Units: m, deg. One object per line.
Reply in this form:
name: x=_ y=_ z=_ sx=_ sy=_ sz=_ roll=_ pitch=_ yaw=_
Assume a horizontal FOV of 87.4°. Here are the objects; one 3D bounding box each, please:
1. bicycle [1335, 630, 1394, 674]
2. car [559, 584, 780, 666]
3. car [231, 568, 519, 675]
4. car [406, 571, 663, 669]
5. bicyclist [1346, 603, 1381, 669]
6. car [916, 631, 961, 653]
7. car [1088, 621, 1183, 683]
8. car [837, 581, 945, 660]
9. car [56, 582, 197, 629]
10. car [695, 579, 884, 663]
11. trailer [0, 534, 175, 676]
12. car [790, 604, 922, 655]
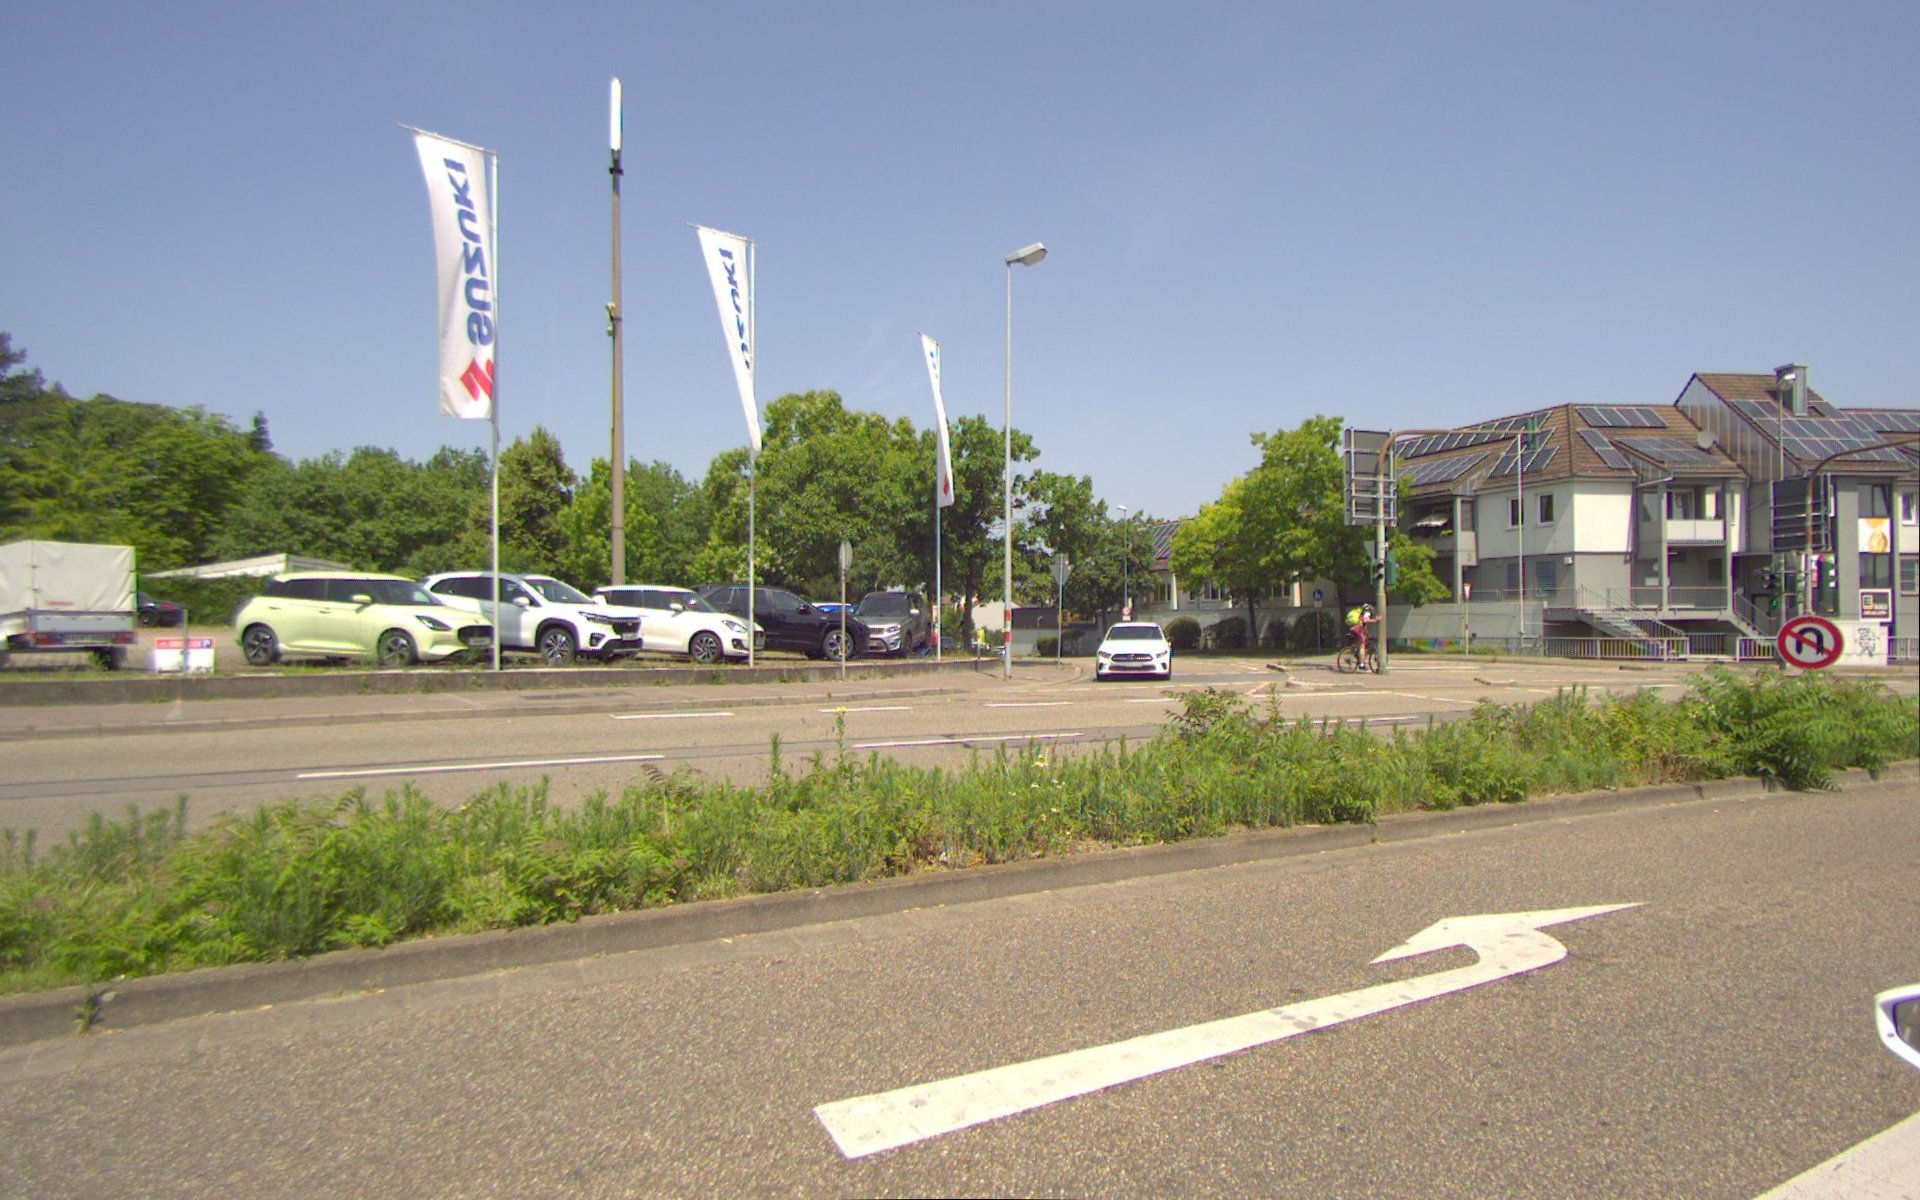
bicycle: x=10.476 y=1.340 z=25.989 sx=1.768 sy=1.068 sz=0.418 roll=0 pitch=1 yaw=-30
car: x=-5.785 y=0.498 z=20.173 sx=3.882 sy=1.451 sz=1.717 roll=2 pitch=-1 yaw=13
car: x=-9.387 y=0.323 z=16.256 sx=3.742 sy=1.530 sz=1.759 roll=2 pitch=0 yaw=10
car: x=-7.659 y=0.339 z=18.228 sx=3.882 sy=1.561 sz=1.920 roll=2 pitch=0 yaw=14
bicyclist: x=10.416 y=0.923 z=25.954 sx=0.811 sy=1.664 sz=0.419 roll=0 pitch=1 yaw=-30
car: x=-1.535 y=2.974 z=70.609 sx=1.972 sy=1.505 sz=4.424 roll=0 pitch=-3 yaw=-18
car: x=4.583 y=1.280 z=25.742 sx=1.837 sy=1.443 sz=4.269 roll=-1 pitch=-2 yaw=17
car: x=-1.774 y=0.599 z=27.269 sx=1.792 sy=1.926 sz=4.313 roll=2 pitch=-2 yaw=11
car: x=-26.268 y=0.185 z=31.789 sx=3.320 sy=1.392 sz=1.638 roll=2 pitch=0 yaw=-37
car: x=-3.975 y=0.515 z=23.444 sx=3.962 sy=1.746 sz=1.834 roll=3 pitch=-1 yaw=-27
trailer: x=-12.227 y=0.049 z=13.470 sx=2.387 sy=1.726 sz=1.693 roll=1 pitch=0 yaw=22
car: x=-3.411 y=0.961 z=33.062 sx=3.946 sy=1.557 sz=1.785 roll=2 pitch=0 yaw=-25
